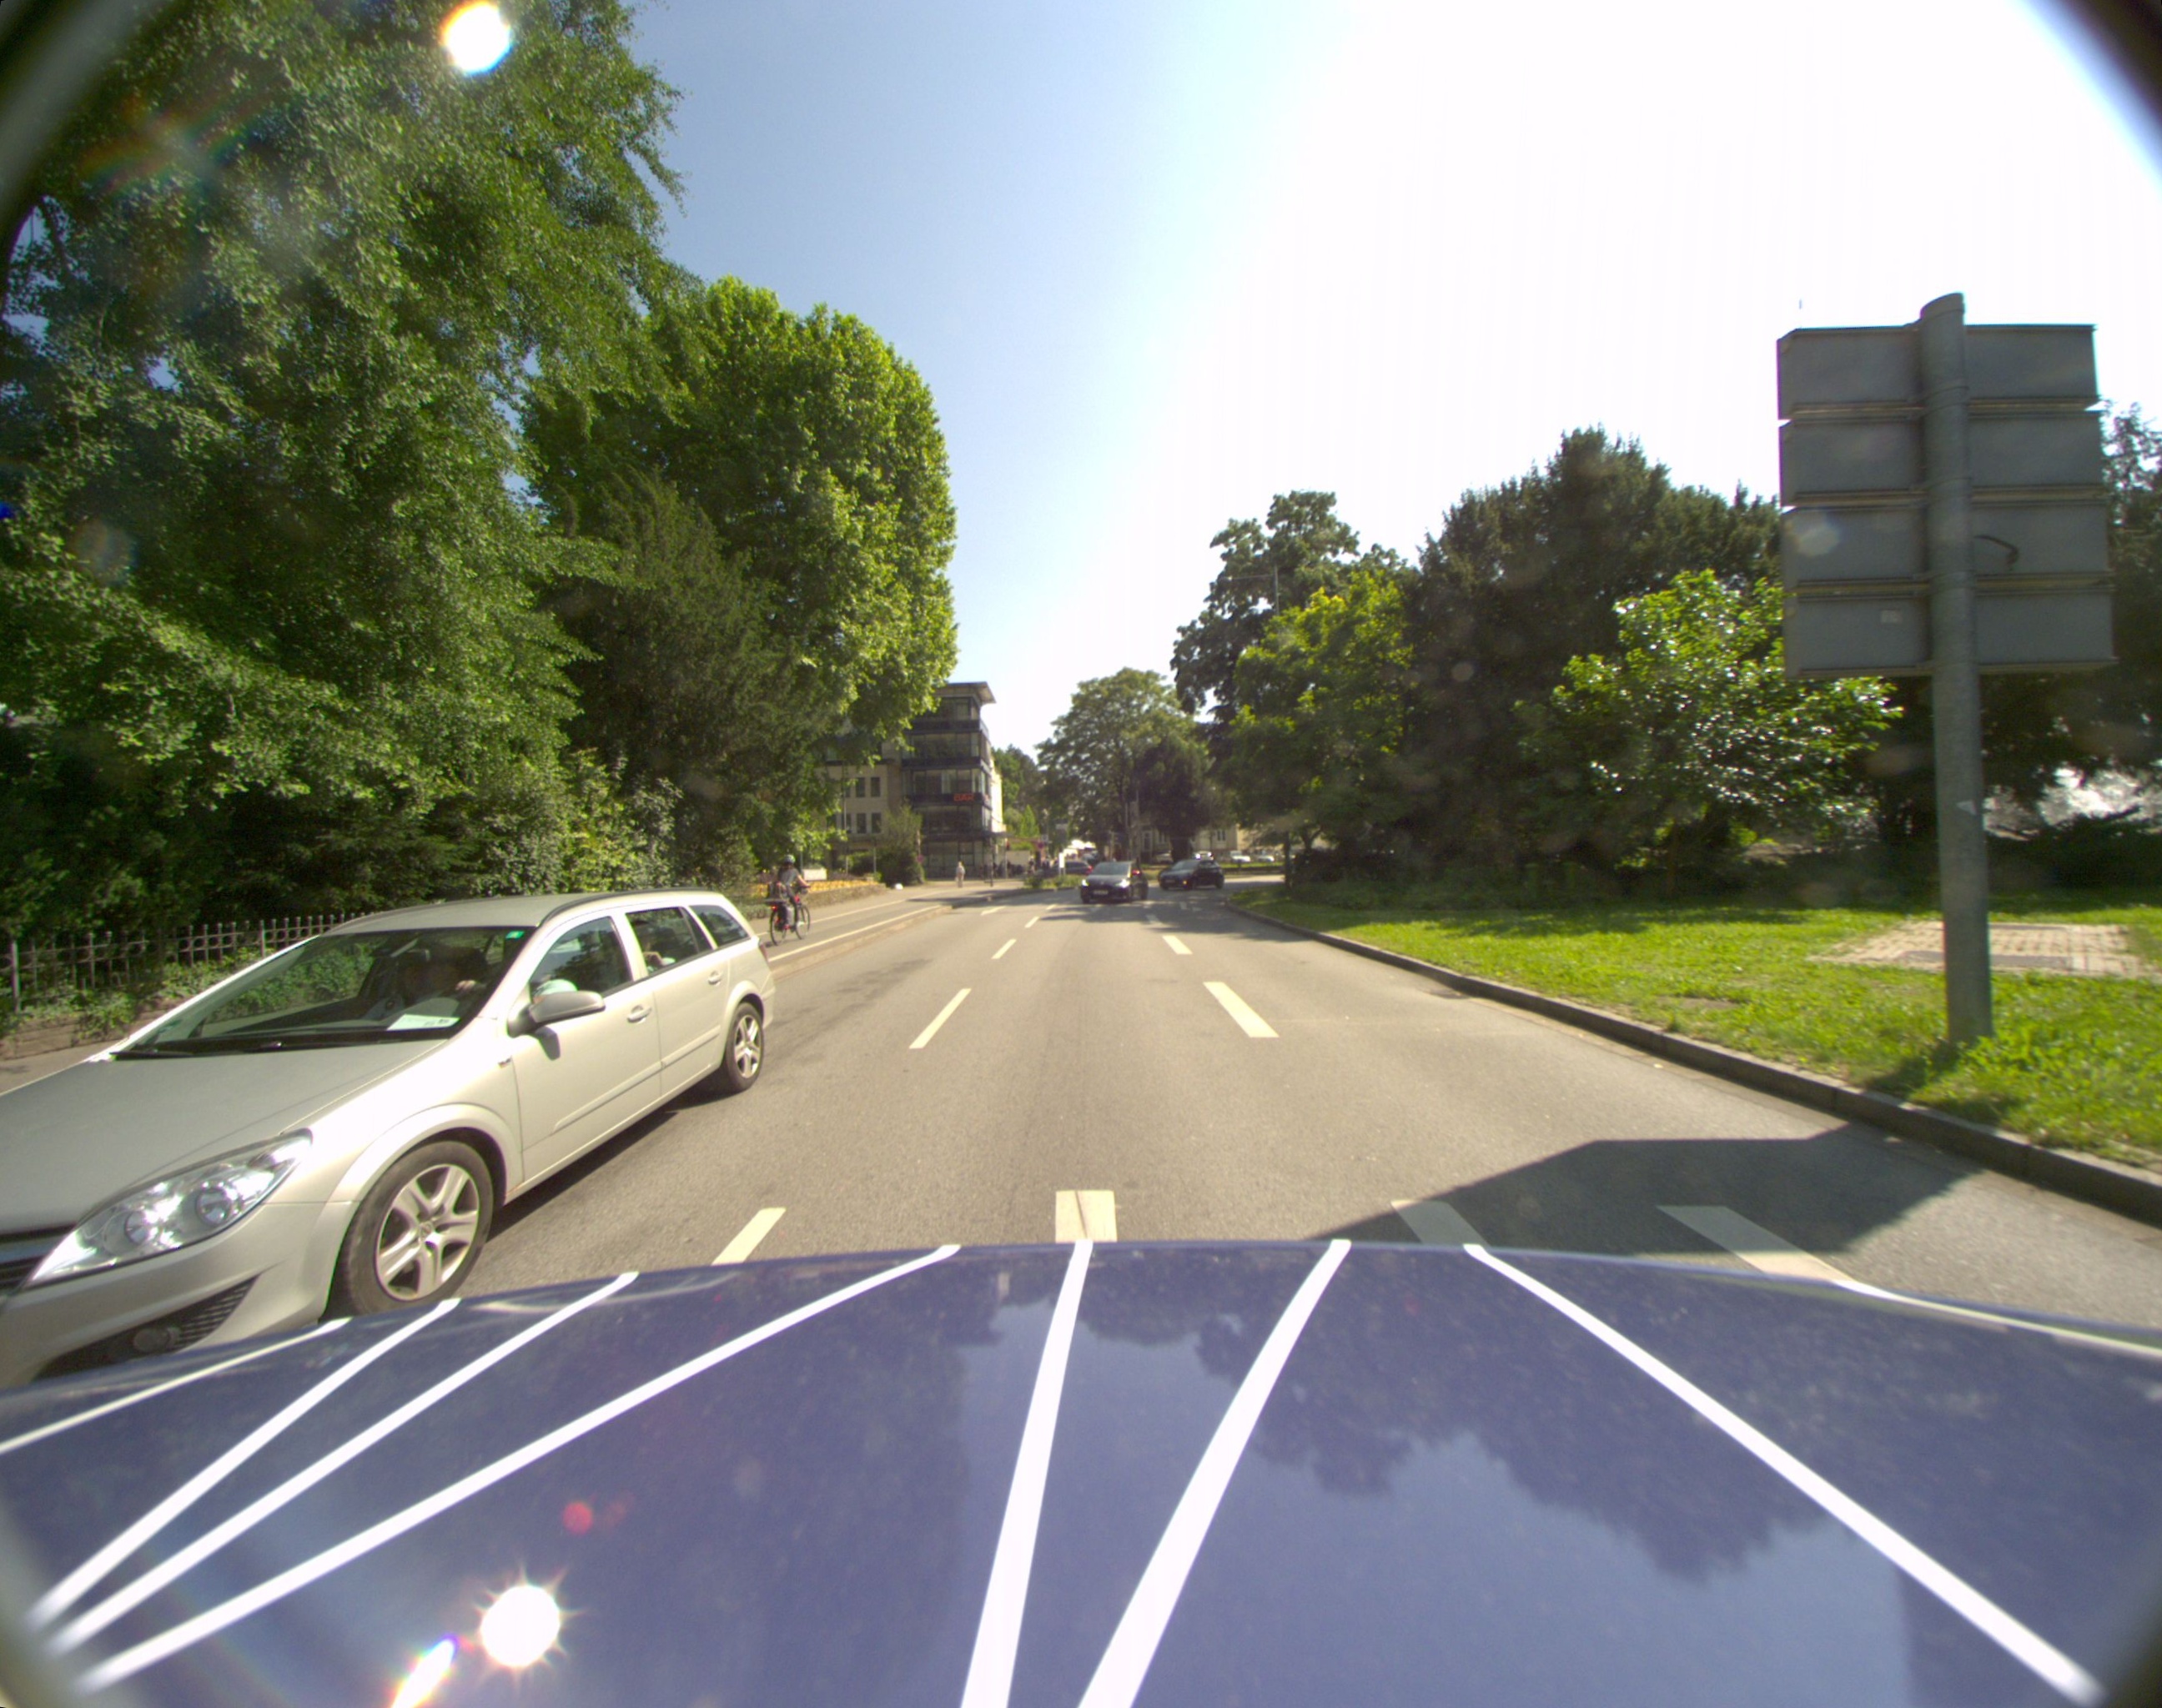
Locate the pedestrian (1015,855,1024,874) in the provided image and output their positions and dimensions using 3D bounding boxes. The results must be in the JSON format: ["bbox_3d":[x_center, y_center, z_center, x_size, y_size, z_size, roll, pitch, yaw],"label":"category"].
[{"bbox_3d":[-5.706,0.966,70.619,0.602,1.695,0.604,-2,0,5],"label":"pedestrian"}]

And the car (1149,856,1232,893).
[{"bbox_3d":[5.400,0.949,37.139,1.885,1.674,4.150,1,1,44],"label":"car"}]

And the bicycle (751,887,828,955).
[{"bbox_3d":[-5.689,1.275,14.942,0.759,1.114,2.001,-1,1,-2],"label":"bicycle"}]

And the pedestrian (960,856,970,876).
[{"bbox_3d":[-10.034,1.056,65.633,0.690,1.695,0.602,-2,0,0],"label":"pedestrian"}]

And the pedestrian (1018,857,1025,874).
[{"bbox_3d":[-6.013,1.126,76.680,0.602,1.695,0.604,-2,0,0],"label":"pedestrian"}]

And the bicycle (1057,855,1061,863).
[{"bbox_3d":[-3.143,0.734,109.402,0.566,1.154,1.899,-2,0,0],"label":"bicycle"}]

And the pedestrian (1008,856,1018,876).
[{"bbox_3d":[-5.891,1.042,66.081,0.701,1.695,0.602,-2,0,2],"label":"pedestrian"}]

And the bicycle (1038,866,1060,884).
[{"bbox_3d":[-1.985,1.300,47.404,0.710,1.048,2.210,-2,0,16],"label":"bicycle"}]

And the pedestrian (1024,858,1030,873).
[{"bbox_3d":[-6.012,1.245,84.319,0.602,1.587,0.604,-2,0,2],"label":"pedestrian"}]

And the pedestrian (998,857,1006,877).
[{"bbox_3d":[-6.965,1.163,66.866,0.604,1.695,0.690,-2,0,-2],"label":"pedestrian"}]

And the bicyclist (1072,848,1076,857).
[{"bbox_3d":[-1.468,-0.282,160.341,0.573,2.002,0.907,-2,0,6],"label":"bicyclist"}]

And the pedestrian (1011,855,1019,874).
[{"bbox_3d":[-6.051,0.960,69.959,0.602,1.695,0.604,-2,0,5],"label":"pedestrian"}]

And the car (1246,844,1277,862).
[{"bbox_3d":[17.701,-0.063,74.721,1.851,1.652,3.999,-2,0,-4],"label":"car"}]

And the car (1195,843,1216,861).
[{"bbox_3d":[14.110,-0.234,86.085,1.850,2.002,4.001,-2,0,3],"label":"car"}]

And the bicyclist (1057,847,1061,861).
[{"bbox_3d":[-3.182,-0.030,109.348,0.574,2.002,0.749,-2,0,-1],"label":"bicyclist"}]

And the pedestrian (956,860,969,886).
[{"bbox_3d":[-7.722,1.217,49.405,0.711,1.662,0.534,-2,0,-4],"label":"pedestrian"}]

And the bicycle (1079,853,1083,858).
[{"bbox_3d":[0.049,0.306,165.020,0.566,1.154,1.901,-2,0,12],"label":"bicycle"}]

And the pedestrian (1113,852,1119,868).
[{"bbox_3d":[3.695,0.657,79.988,0.602,1.695,0.604,-2,0,0],"label":"pedestrian"}]

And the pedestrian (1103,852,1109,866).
[{"bbox_3d":[3.007,0.597,91.065,0.602,1.695,0.604,-2,0,0],"label":"pedestrian"}]

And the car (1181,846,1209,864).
[{"bbox_3d":[11.177,0.068,74.578,1.851,1.652,3.999,-2,0,-4],"label":"car"}]

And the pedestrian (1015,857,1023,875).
[{"bbox_3d":[-5.975,1.125,73.191,0.602,1.695,0.730,-2,0,5],"label":"pedestrian"}]

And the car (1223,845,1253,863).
[{"bbox_3d":[15.285,-0.012,74.328,1.851,1.652,3.999,-2,0,-4],"label":"car"}]

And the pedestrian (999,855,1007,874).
[{"bbox_3d":[-7.111,0.974,69.101,0.602,1.695,0.604,-2,0,5],"label":"pedestrian"}]

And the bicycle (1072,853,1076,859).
[{"bbox_3d":[-1.484,0.368,160.184,0.566,1.154,1.900,-2,0,7],"label":"bicycle"}]

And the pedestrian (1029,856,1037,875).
[{"bbox_3d":[-4.362,0.998,68.998,0.602,1.695,0.604,-2,0,5],"label":"pedestrian"}]

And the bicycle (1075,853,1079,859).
[{"bbox_3d":[-0.788,0.419,149.747,0.566,1.154,1.899,-2,0,5],"label":"bicycle"}]

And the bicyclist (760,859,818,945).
[{"bbox_3d":[-5.734,0.921,14.962,0.766,1.626,0.943,-1,1,-2],"label":"bicyclist"}]

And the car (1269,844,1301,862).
[{"bbox_3d":[20.065,-0.111,74.954,1.851,1.652,3.999,-2,0,-4],"label":"car"}]

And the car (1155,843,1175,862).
[{"bbox_3d":[9.332,-0.129,84.564,1.850,2.002,4.001,-2,0,3],"label":"car"}]

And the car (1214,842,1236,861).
[{"bbox_3d":[16.233,-0.275,85.887,1.850,2.002,4.001,-2,0,3],"label":"car"}]

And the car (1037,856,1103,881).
[{"bbox_3d":[-0.795,0.996,53.205,4.417,1.545,1.684,-2,0,-6],"label":"car"}]

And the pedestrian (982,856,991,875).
[{"bbox_3d":[-8.593,1.020,68.844,0.602,1.695,0.604,-2,0,5],"label":"pedestrian"}]

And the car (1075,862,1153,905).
[{"bbox_3d":[1.290,1.043,27.770,1.808,1.443,3.960,-1,-1,18],"label":"car"}]

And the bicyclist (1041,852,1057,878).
[{"bbox_3d":[-1.990,0.689,47.455,0.710,1.603,0.733,-2,0,17],"label":"bicyclist"}]

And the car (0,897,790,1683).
[{"bbox_3d":[-3.193,1.097,3.756,1.711,1.513,4.407,-2,-1,1],"label":"car"}]

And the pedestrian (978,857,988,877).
[{"bbox_3d":[-8.443,1.140,65.396,0.653,1.695,0.646,-2,0,0],"label":"pedestrian"}]

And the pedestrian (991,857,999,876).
[{"bbox_3d":[-7.806,1.151,68.946,0.602,1.695,0.604,-2,0,5],"label":"pedestrian"}]

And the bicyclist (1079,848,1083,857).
[{"bbox_3d":[0.079,-0.314,165.255,0.573,2.002,0.908,-2,0,13],"label":"bicyclist"}]

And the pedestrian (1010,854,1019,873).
[{"bbox_3d":[-6.056,0.874,69.188,0.602,1.695,0.604,-2,0,5],"label":"pedestrian"}]

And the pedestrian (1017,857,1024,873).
[{"bbox_3d":[-6.266,1.145,78.747,0.602,1.695,0.604,-2,0,0],"label":"pedestrian"}]
